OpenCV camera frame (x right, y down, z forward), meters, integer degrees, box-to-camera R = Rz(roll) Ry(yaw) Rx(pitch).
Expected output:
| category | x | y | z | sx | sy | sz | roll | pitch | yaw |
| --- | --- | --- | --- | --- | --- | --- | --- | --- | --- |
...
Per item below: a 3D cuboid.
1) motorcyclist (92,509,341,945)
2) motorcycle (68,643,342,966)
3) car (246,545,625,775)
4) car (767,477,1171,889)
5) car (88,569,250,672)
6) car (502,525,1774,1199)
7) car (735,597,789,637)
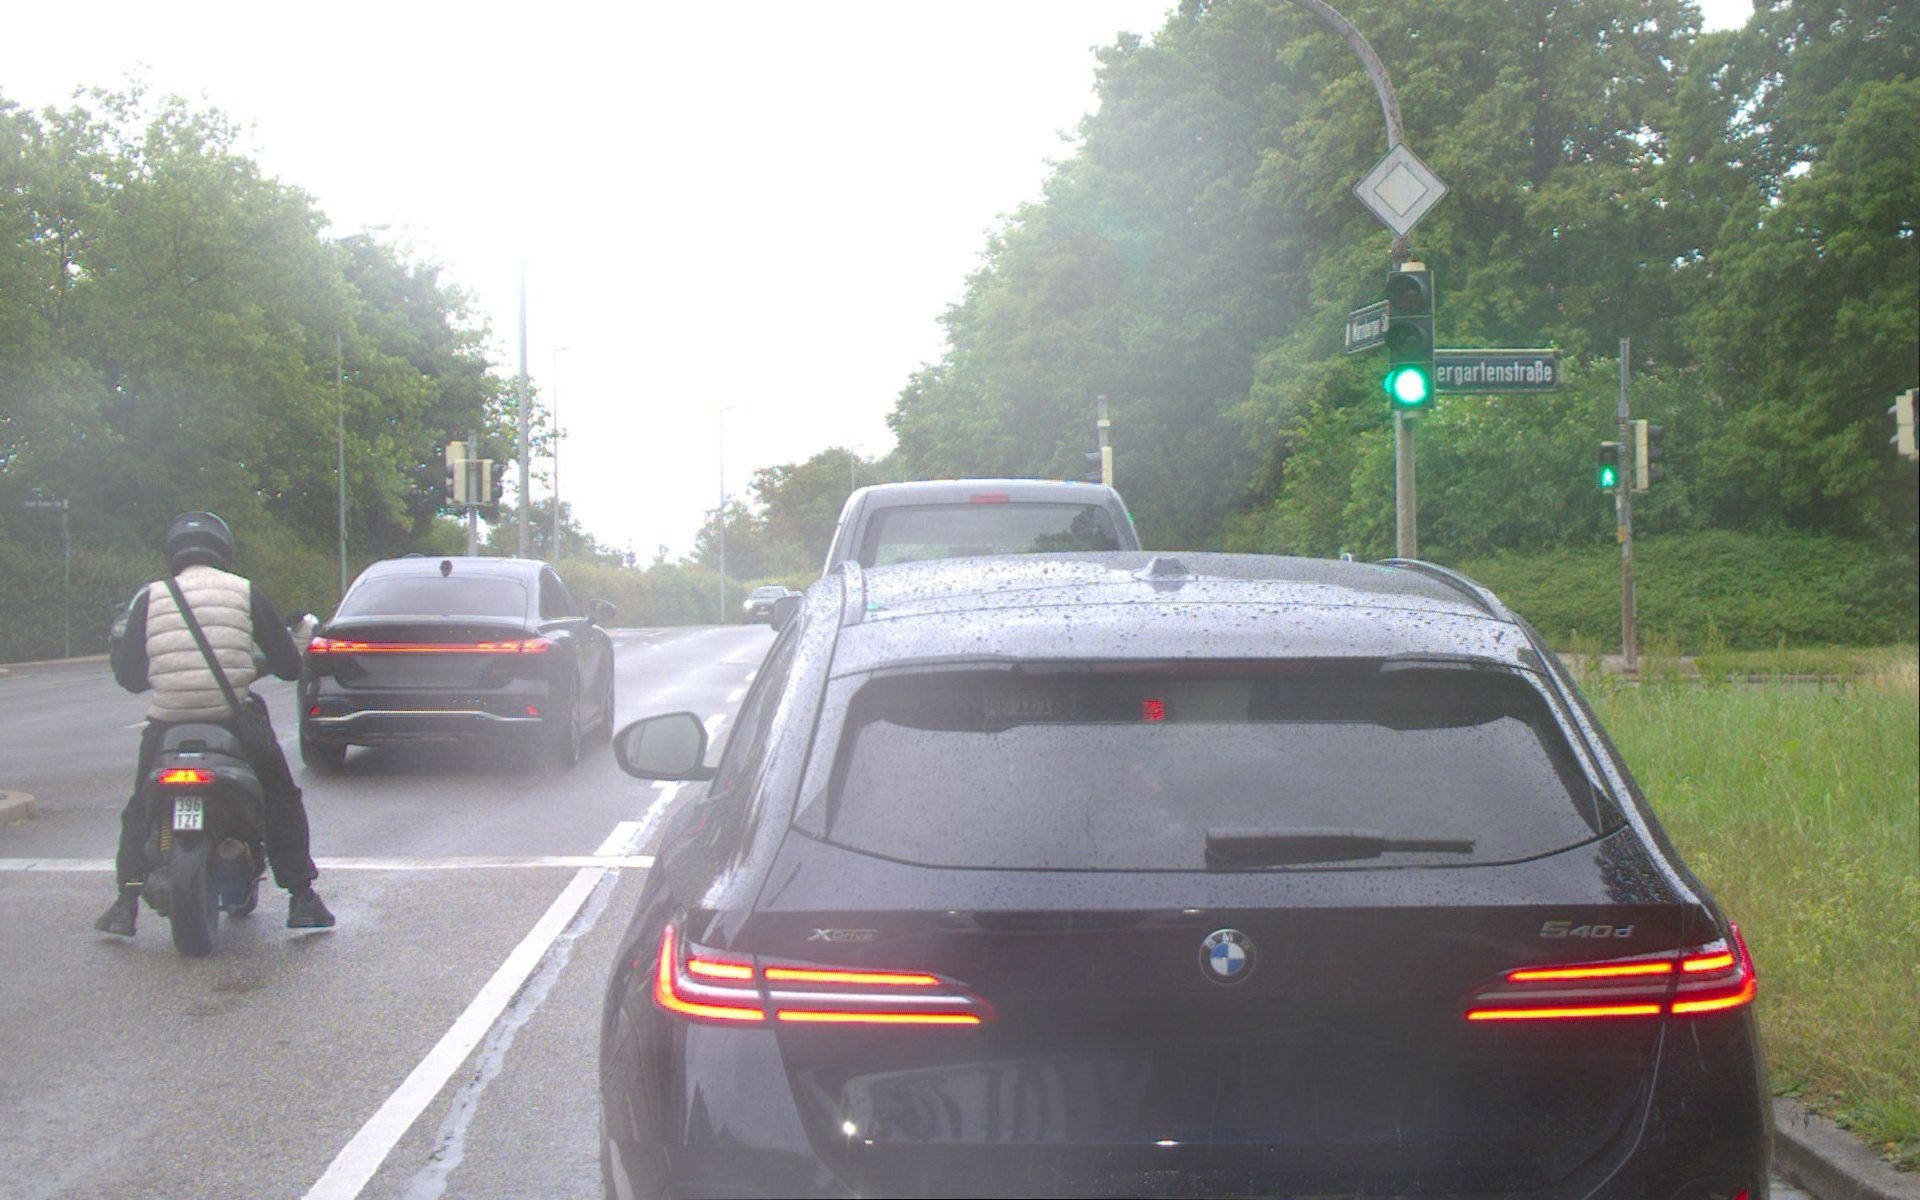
| category | x | y | z | sx | sy | sz | roll | pitch | yaw |
| --- | --- | --- | --- | --- | --- | --- | --- | --- | --- |
| motorcyclist | -2.848 | 0.474 | 13.206 | 0.845 | 1.641 | 0.468 | 0 | 1 | -1 |
| motorcycle | -2.855 | 0.748 | 13.132 | 0.741 | 1.116 | 1.426 | 0 | 1 | -1 |
| car | -3.546 | 0.346 | 24.049 | 2.014 | 1.410 | 4.487 | 0 | 1 | -1 |
| car | 0.016 | 0.320 | 17.081 | 1.767 | 1.804 | 3.905 | 0 | 1 | -1 |
| car | -12.430 | 0.294 | 54.239 | 1.862 | 1.487 | 3.834 | -2 | 1 | -4 |
| car | 0.225 | 0.634 | 6.621 | 1.764 | 1.531 | 3.673 | 0 | 1 | -1 |
| car | -8.054 | 0.683 | 140.089 | 2.025 | 1.558 | 3.877 | -2 | 0 | -2 |
